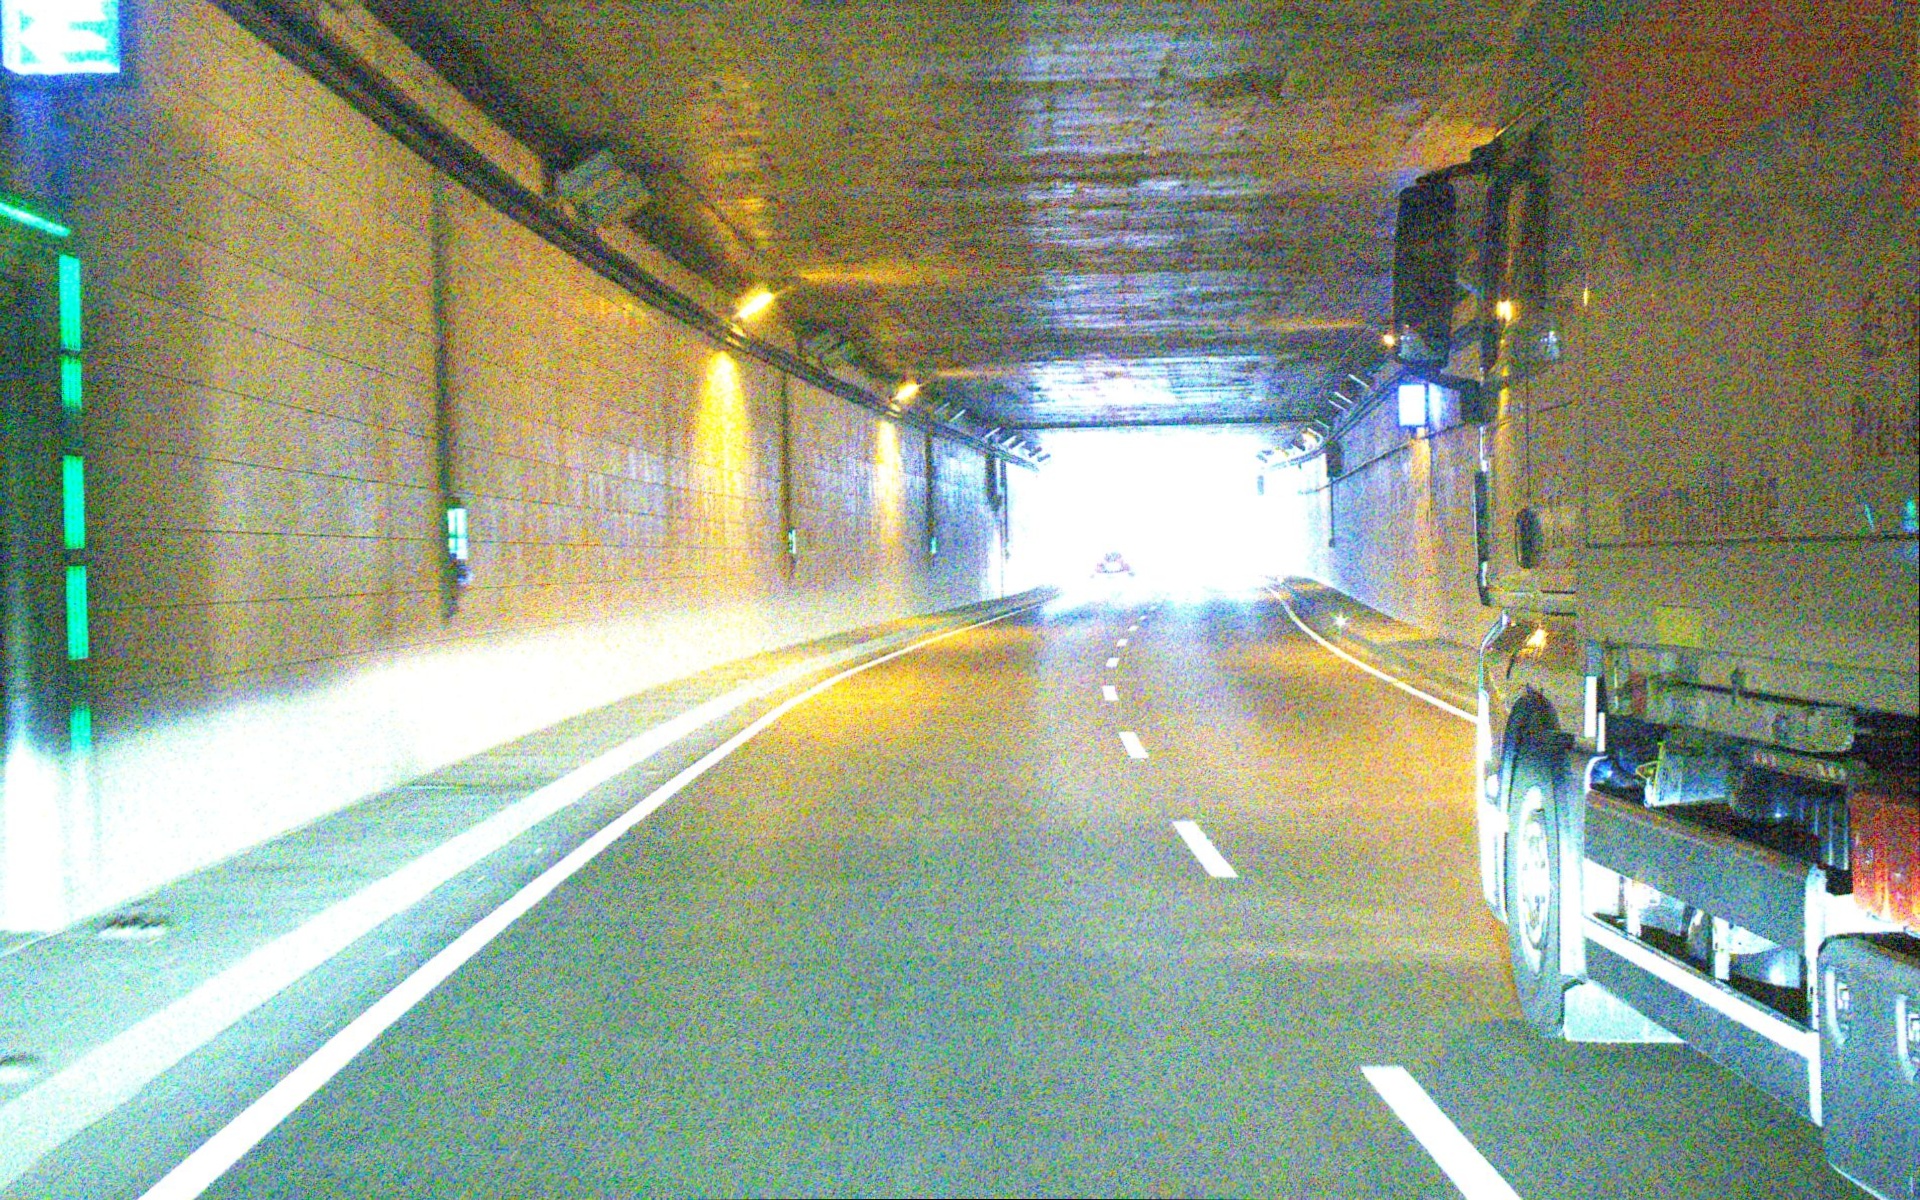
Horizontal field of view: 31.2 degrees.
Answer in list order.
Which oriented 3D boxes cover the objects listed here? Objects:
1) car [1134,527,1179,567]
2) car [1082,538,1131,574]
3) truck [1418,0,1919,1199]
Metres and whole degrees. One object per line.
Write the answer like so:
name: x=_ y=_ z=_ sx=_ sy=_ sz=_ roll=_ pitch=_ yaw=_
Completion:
car: x=8.771 y=-2.354 z=153.336 sx=1.869 sy=1.726 sz=4.000 roll=-1 pitch=0 yaw=2
car: x=5.778 y=-1.732 z=135.340 sx=1.841 sy=1.384 sz=4.000 roll=-1 pitch=1 yaw=3
truck: x=3.113 y=-0.572 z=7.000 sx=2.888 sy=3.900 sz=9.910 roll=-1 pitch=1 yaw=-1
